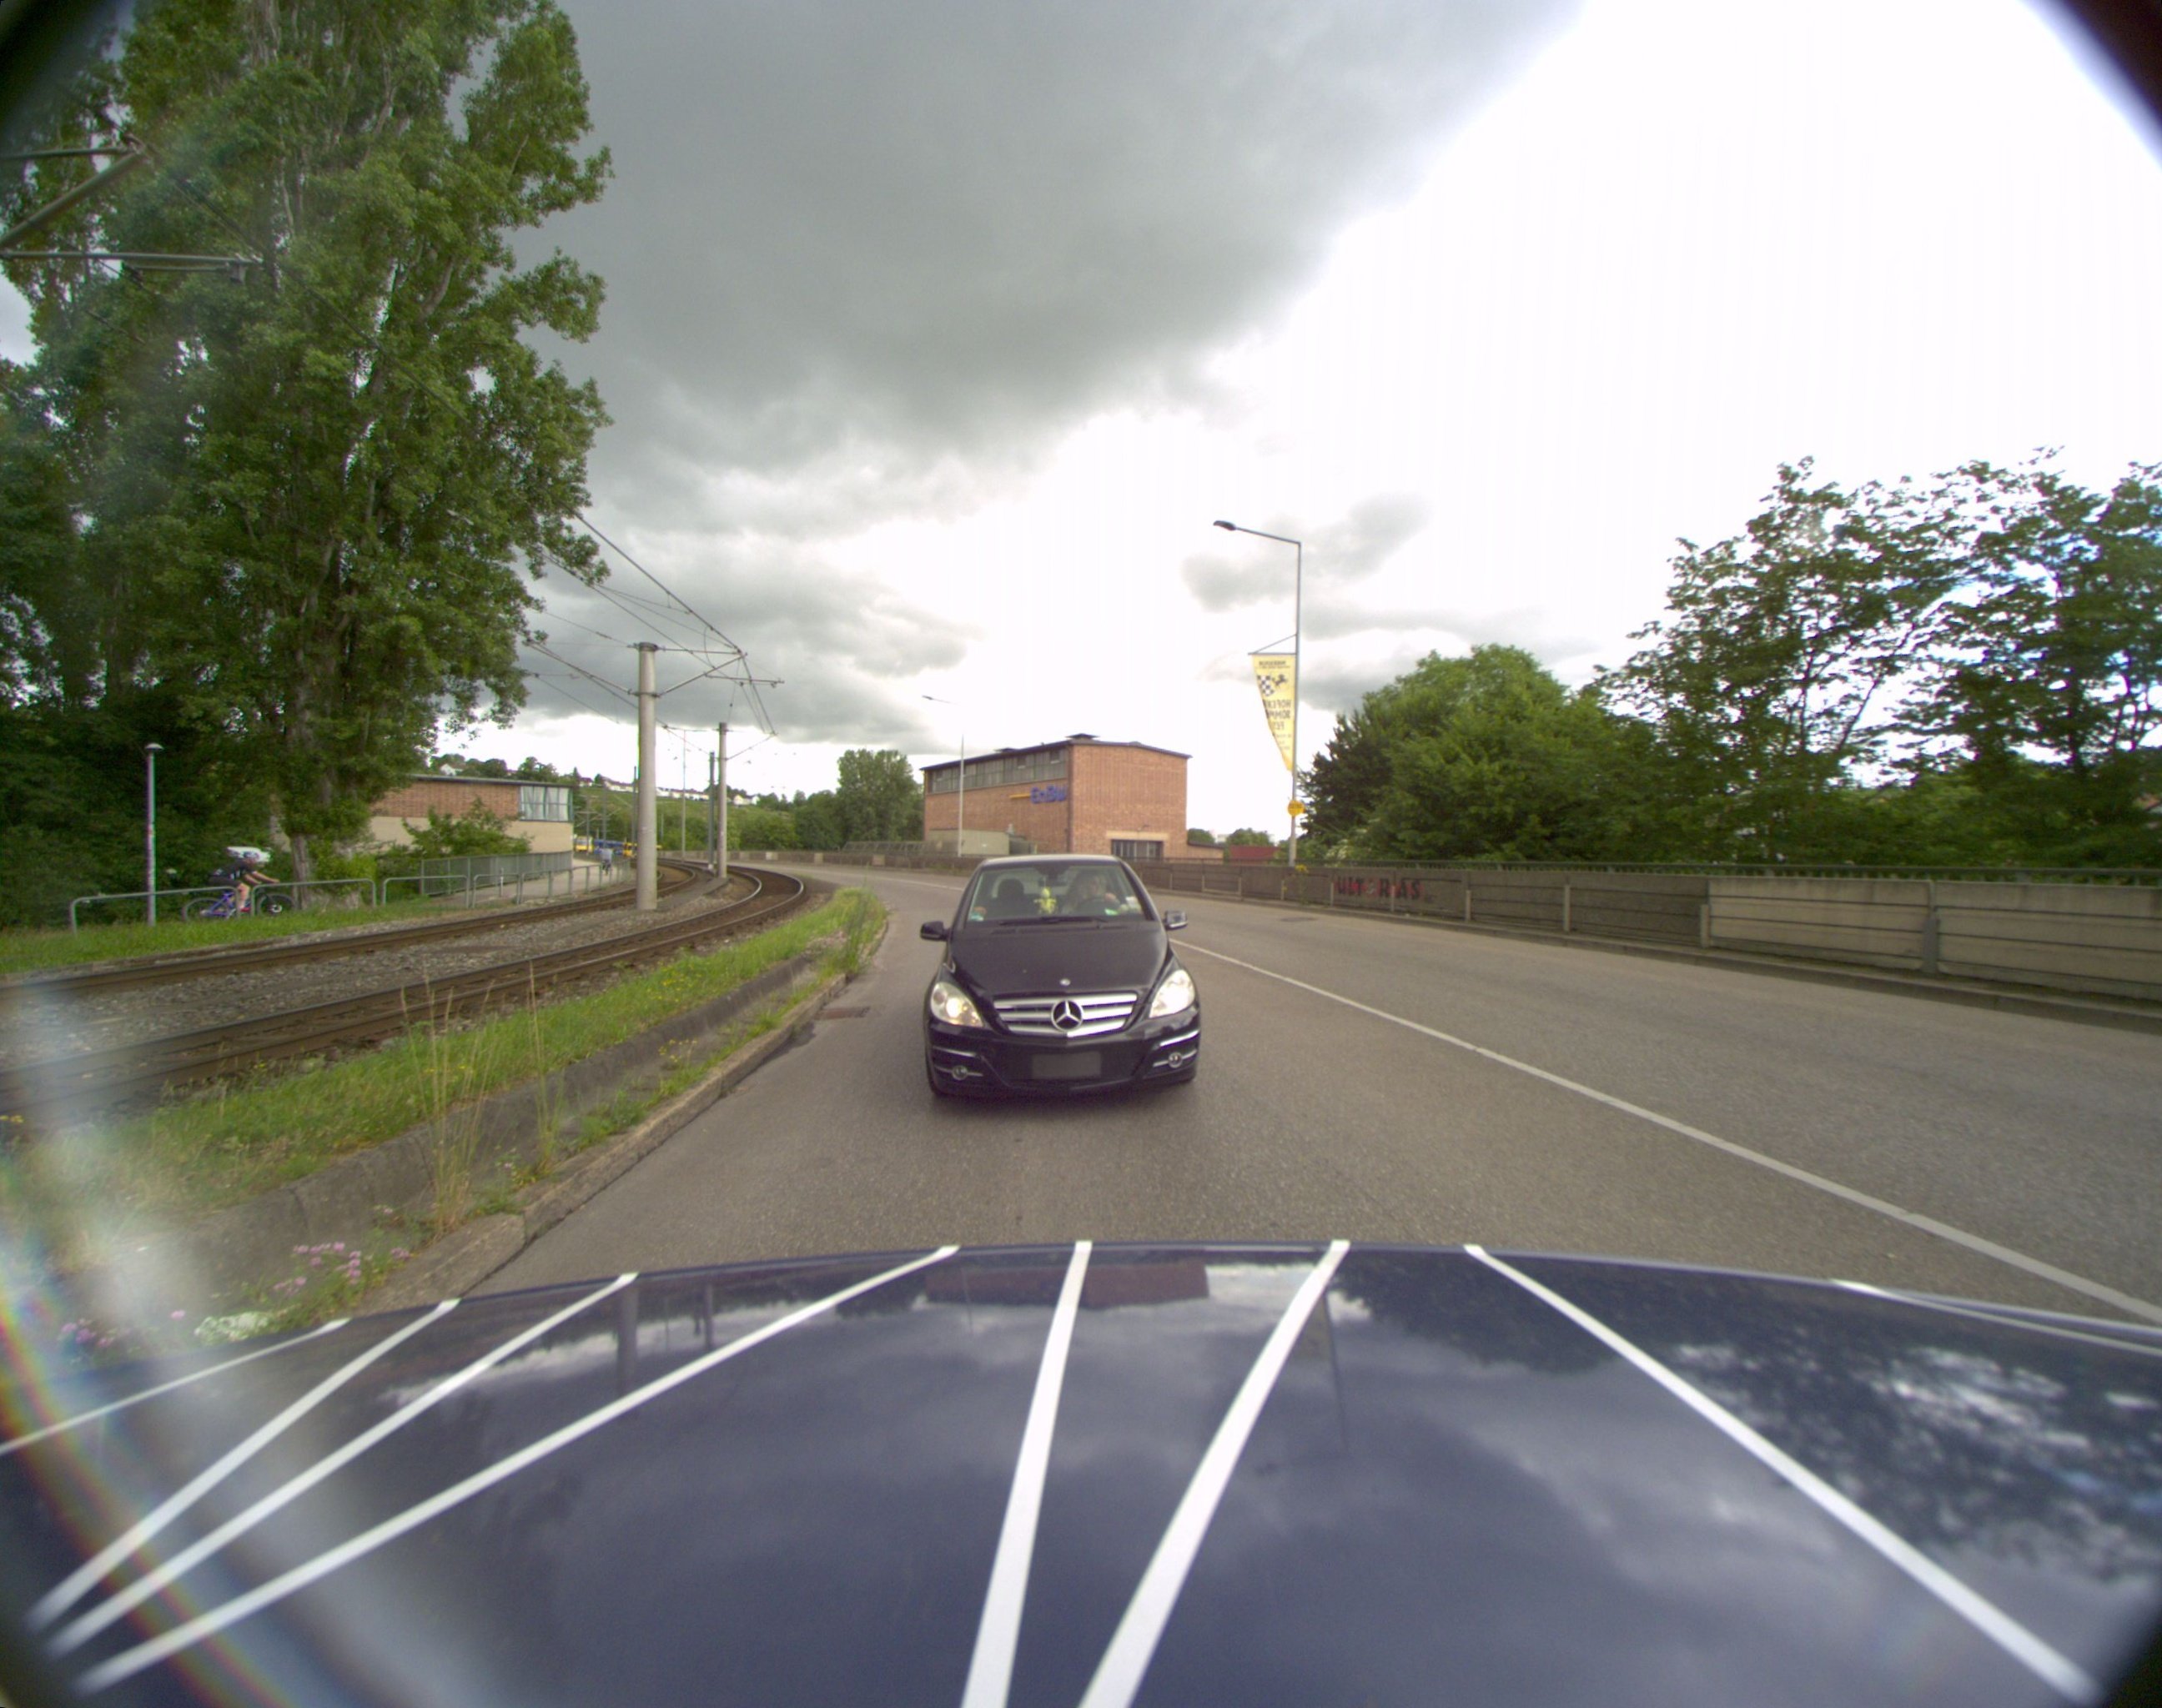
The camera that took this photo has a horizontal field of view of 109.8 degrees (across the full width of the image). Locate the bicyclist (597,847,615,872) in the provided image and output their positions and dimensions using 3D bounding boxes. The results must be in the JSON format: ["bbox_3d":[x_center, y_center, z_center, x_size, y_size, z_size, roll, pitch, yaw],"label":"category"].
[{"bbox_3d":[-25.313,0.291,40.511,0.596,1.352,0.909,-2,1,-22],"label":"bicyclist"}]

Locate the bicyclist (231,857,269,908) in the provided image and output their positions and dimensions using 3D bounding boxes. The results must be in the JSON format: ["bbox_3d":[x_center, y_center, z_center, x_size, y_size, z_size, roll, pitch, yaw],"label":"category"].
[{"bbox_3d":[-17.854,0.606,16.330,0.416,1.077,0.475,0,1,33],"label":"bicyclist"}]

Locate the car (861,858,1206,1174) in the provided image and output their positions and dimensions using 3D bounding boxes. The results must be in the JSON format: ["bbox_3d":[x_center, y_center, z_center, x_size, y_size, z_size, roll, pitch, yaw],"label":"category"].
[{"bbox_3d":[-0.234,0.892,6.121,1.860,1.612,3.999,0,1,1],"label":"car"}]

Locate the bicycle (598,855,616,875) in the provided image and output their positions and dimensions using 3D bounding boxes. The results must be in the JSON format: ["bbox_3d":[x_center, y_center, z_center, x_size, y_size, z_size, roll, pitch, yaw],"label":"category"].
[{"bbox_3d":[-25.302,0.576,40.551,0.427,1.044,2.076,-2,1,-22],"label":"bicycle"}]

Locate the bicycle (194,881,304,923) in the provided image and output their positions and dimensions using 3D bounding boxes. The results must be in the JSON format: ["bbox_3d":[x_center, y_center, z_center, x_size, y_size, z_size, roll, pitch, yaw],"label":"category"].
[{"bbox_3d":[-17.859,1.013,16.344,0.347,0.790,1.551,0,0,32],"label":"bicycle"}]
